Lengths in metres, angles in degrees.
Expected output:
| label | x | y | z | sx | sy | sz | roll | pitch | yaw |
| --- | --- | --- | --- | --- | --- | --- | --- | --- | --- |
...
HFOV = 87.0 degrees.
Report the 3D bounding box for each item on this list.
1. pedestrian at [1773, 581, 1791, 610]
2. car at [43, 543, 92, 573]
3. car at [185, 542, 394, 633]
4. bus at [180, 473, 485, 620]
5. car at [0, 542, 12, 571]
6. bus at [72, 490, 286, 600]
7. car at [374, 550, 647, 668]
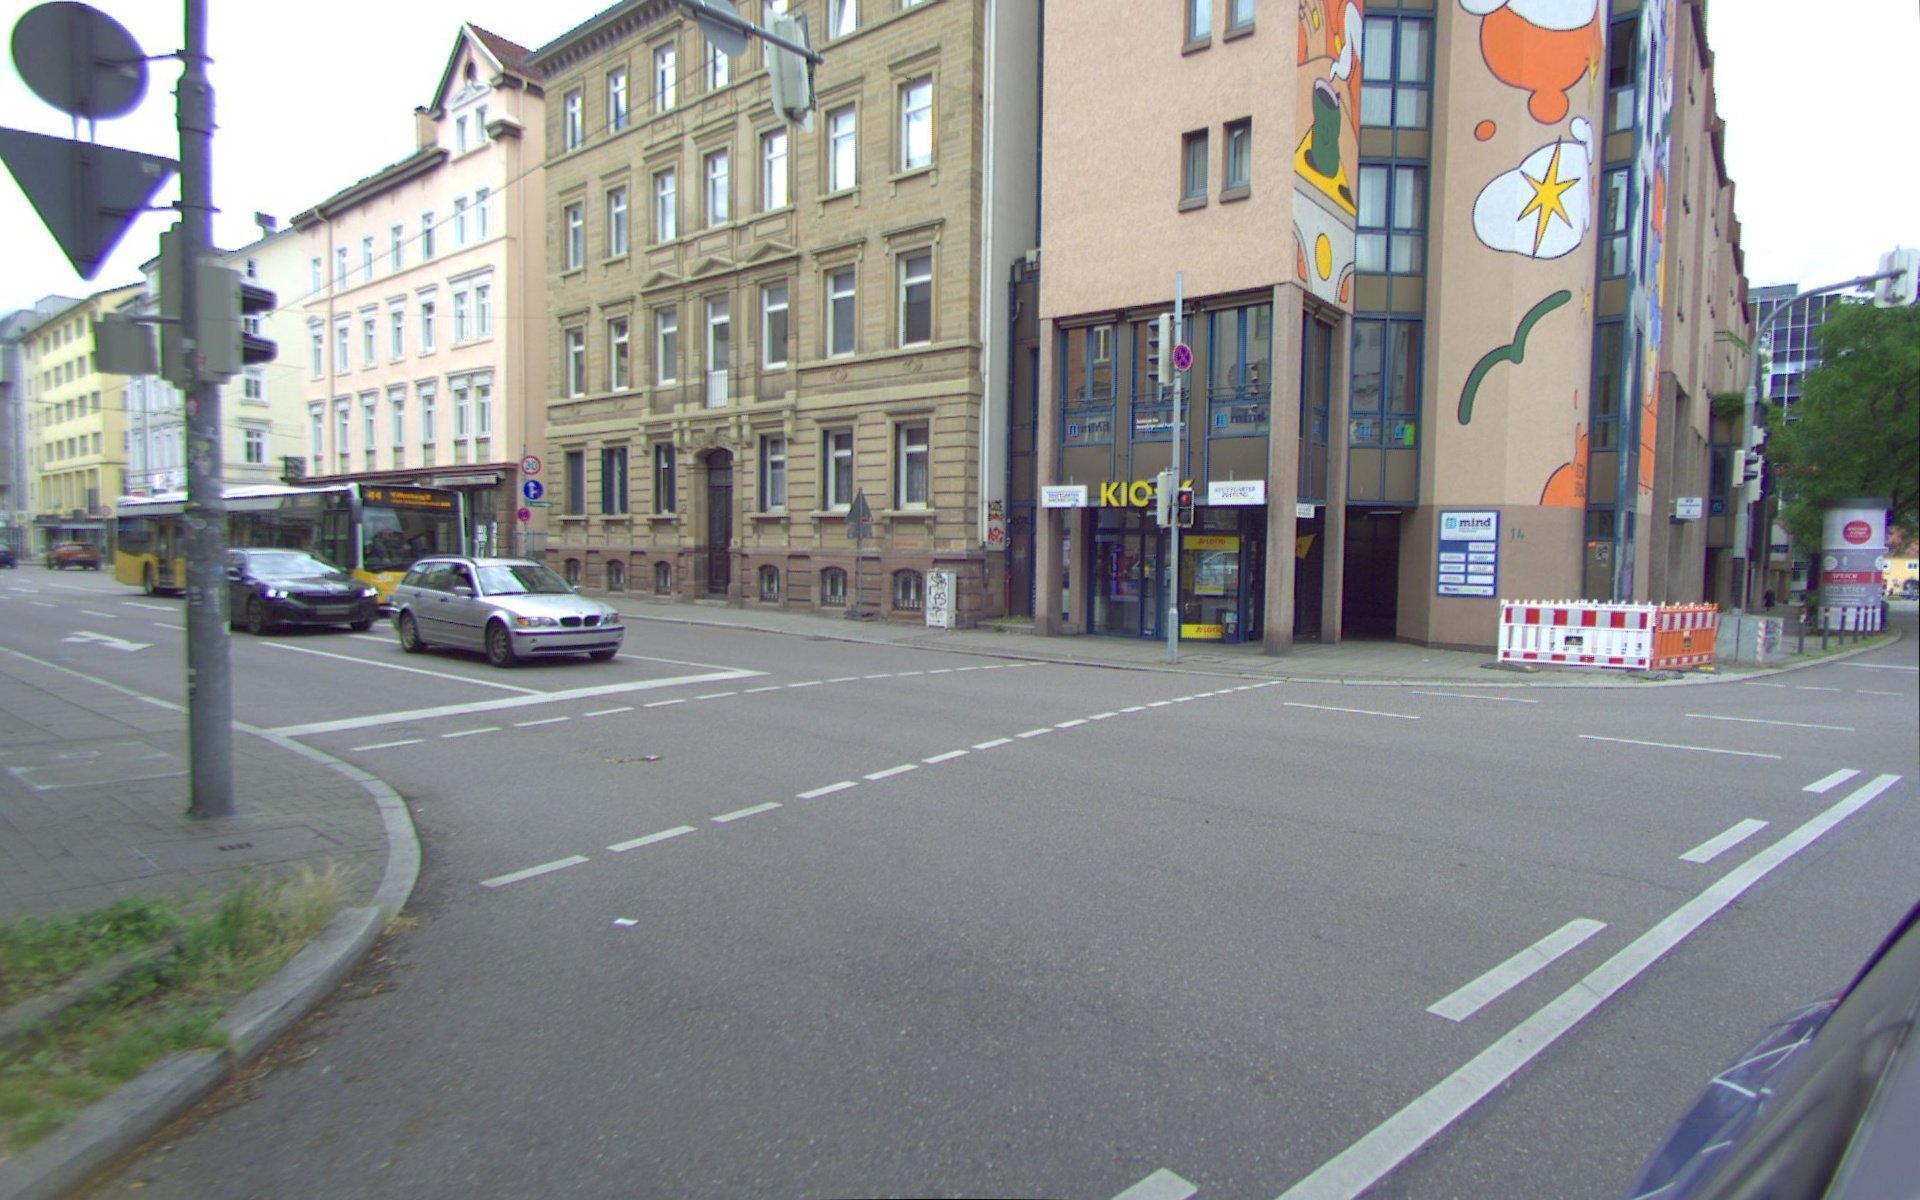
| label | x | y | z | sx | sy | sz | roll | pitch | yaw |
| --- | --- | --- | --- | --- | --- | --- | --- | --- | --- |
| pedestrian | 50.554 | -0.271 | 62.231 | 0.676 | 1.732 | 0.710 | 1 | 1 | -42 |
| car | -49.484 | -2.317 | 56.089 | 3.648 | 1.585 | 1.629 | 3 | 2 | 42 |
| car | -12.668 | -0.299 | 19.050 | 4.245 | 1.508 | 1.974 | 3 | 2 | 36 |
| bus | -16.460 | -1.380 | 25.976 | 11.531 | 3.080 | 2.836 | 3 | 3 | 38 |
| car | -54.121 | -2.452 | 56.360 | 3.648 | 1.585 | 1.629 | 3 | 2 | 42 |
| bus | -25.709 | -1.811 | 33.015 | 11.292 | 3.074 | 2.680 | 3 | 3 | 37 |
| car | -6.581 | 0.043 | 14.664 | 4.137 | 1.446 | 1.830 | 3 | 2 | 36 |
